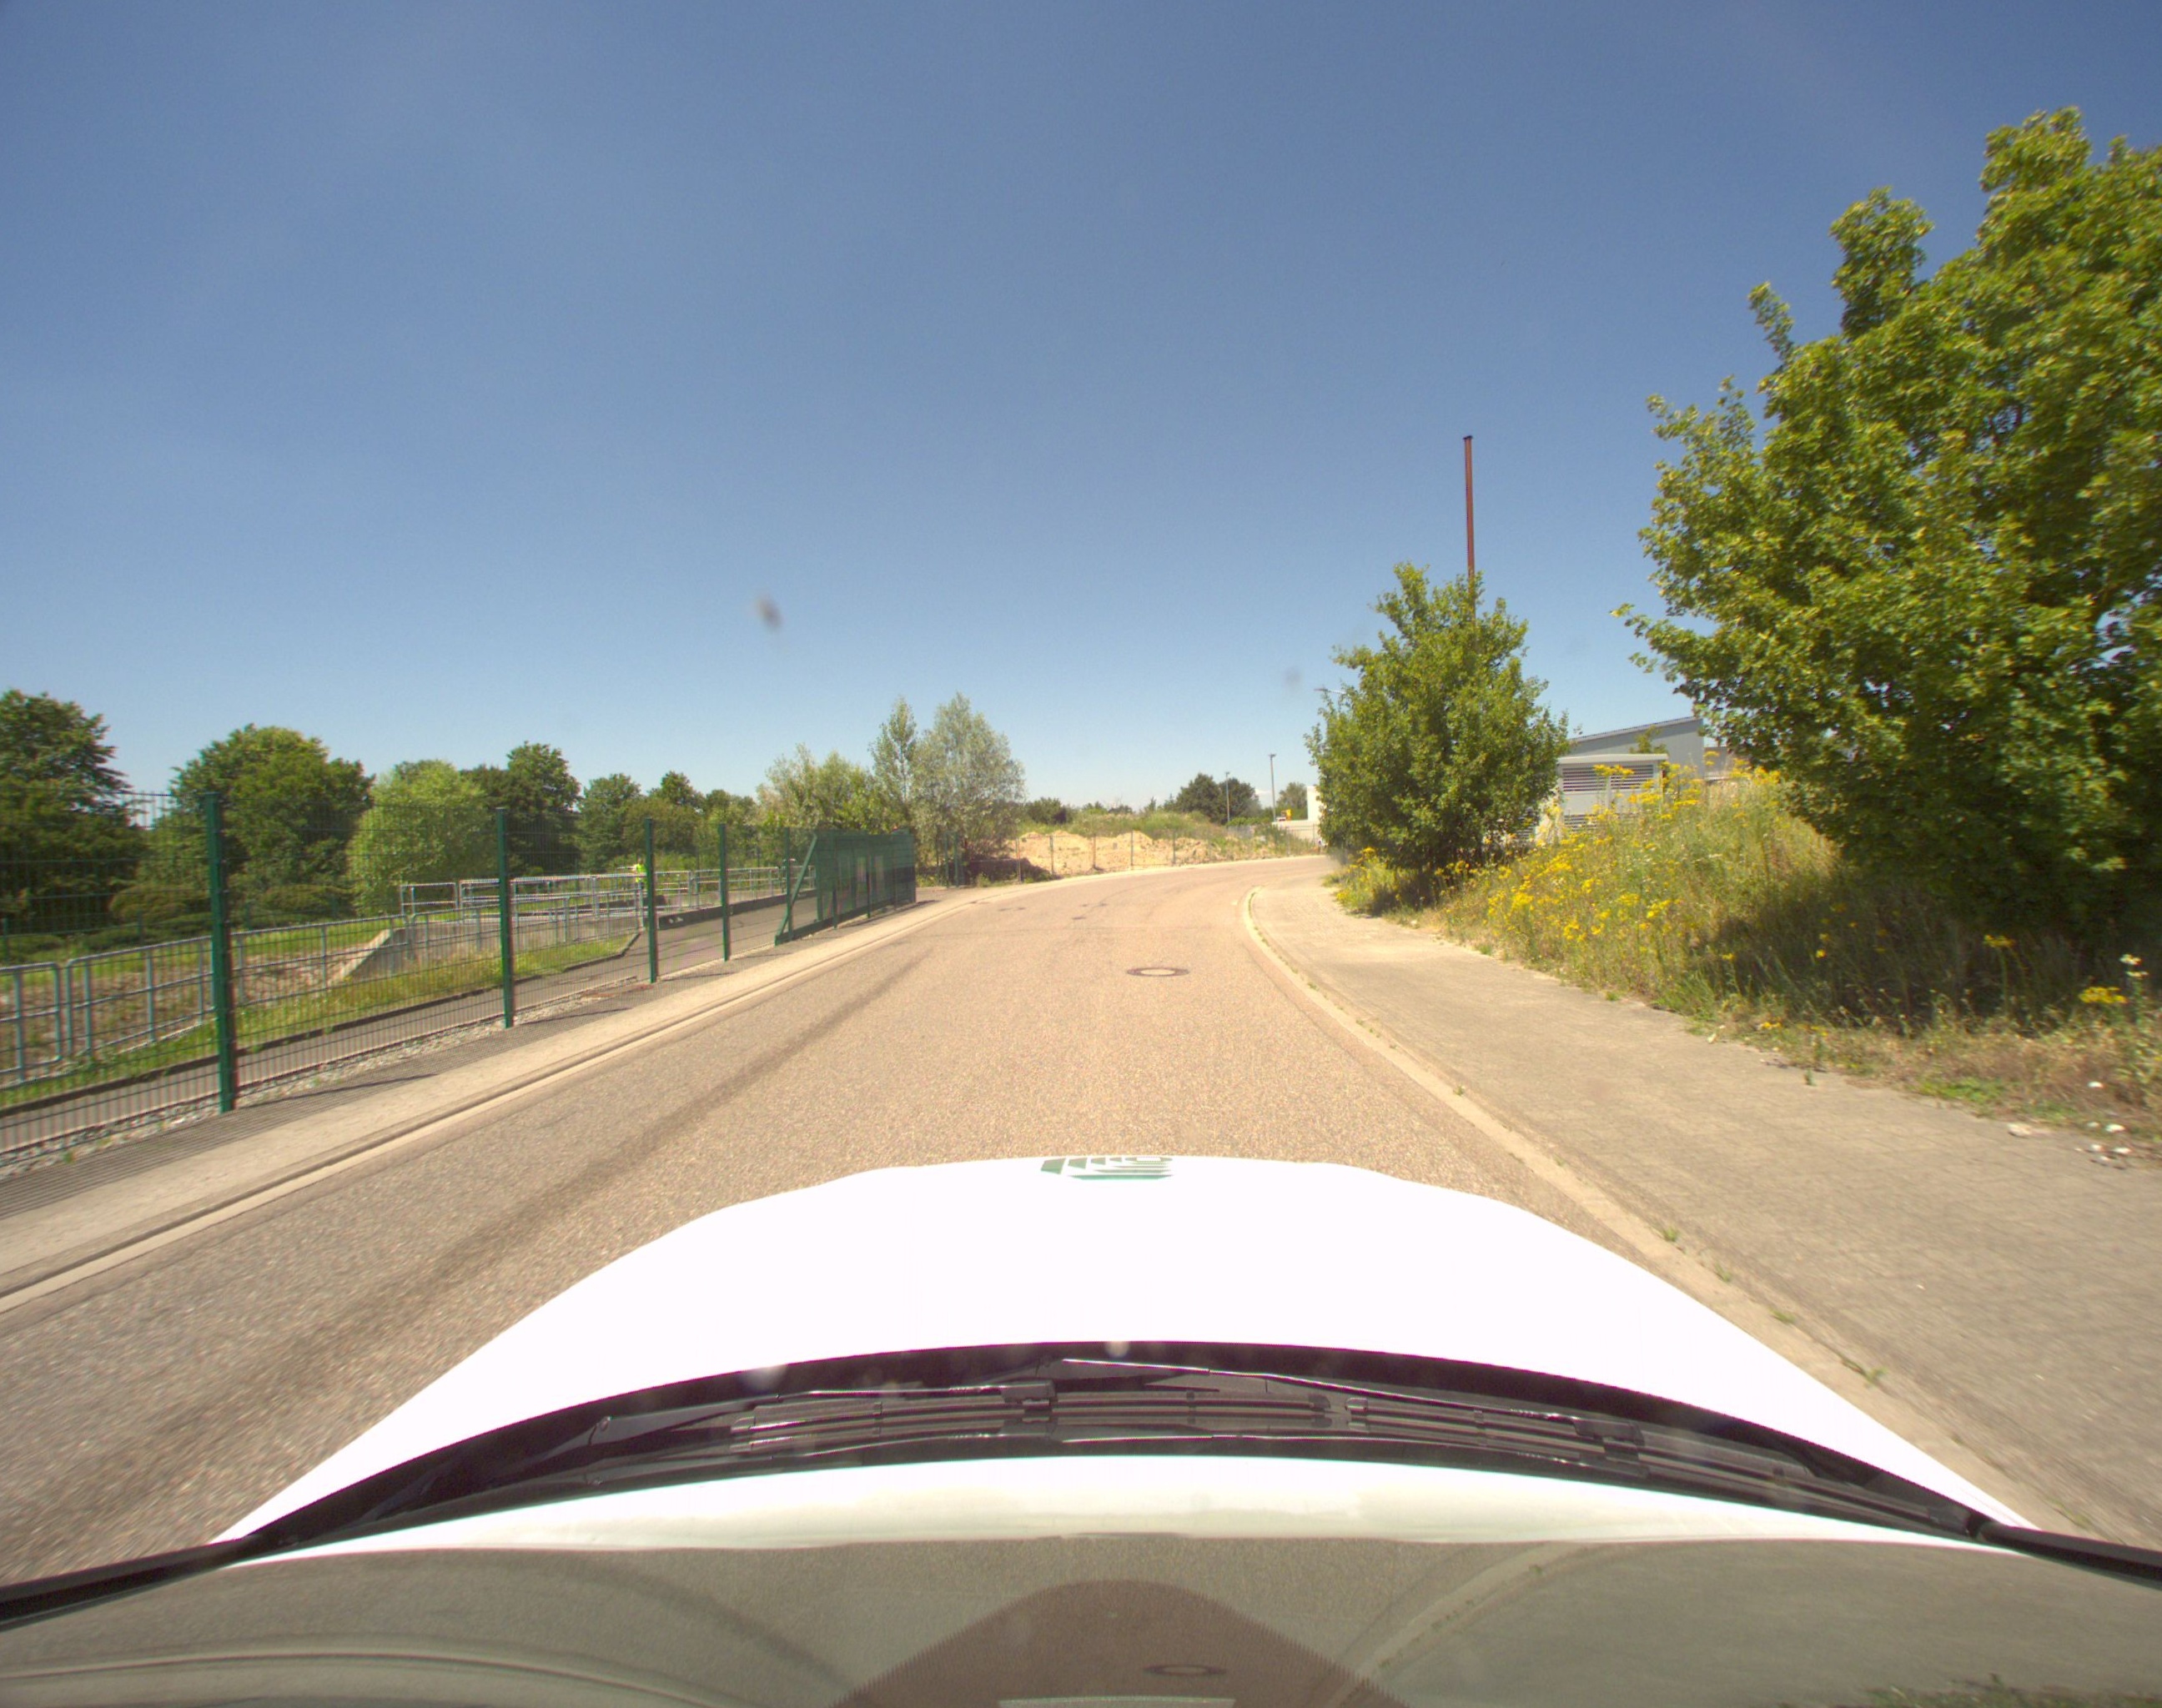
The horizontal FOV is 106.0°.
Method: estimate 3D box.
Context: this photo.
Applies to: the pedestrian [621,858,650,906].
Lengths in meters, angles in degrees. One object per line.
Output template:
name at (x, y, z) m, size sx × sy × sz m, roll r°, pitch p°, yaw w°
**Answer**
pedestrian at (-17.458, 1.086, 31.915) m, size 0.603 × 1.839 × 0.805 m, roll -3°, pitch 0°, yaw 0°
